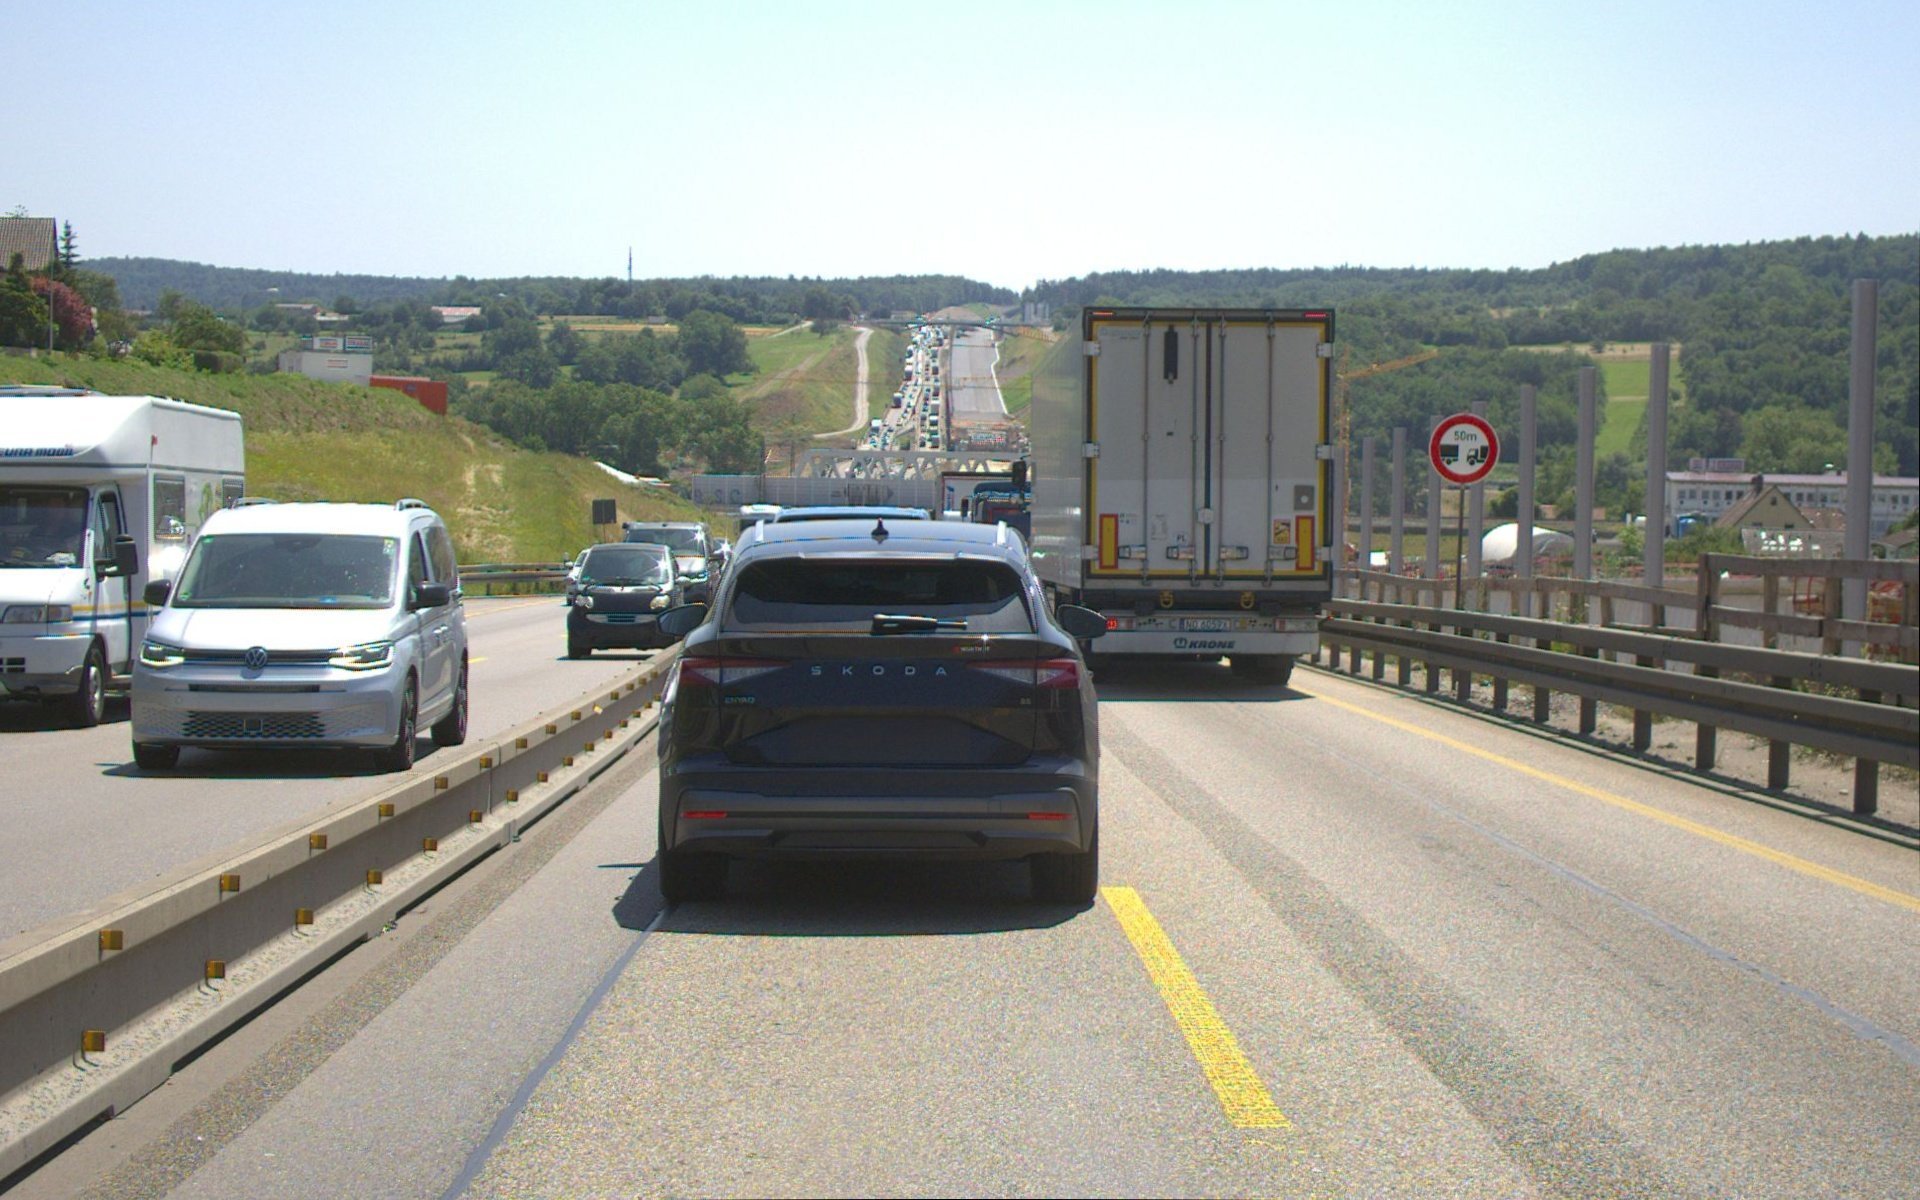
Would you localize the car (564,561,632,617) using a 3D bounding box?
[{"bbox_3d":[-9.156,-0.270,87.037,1.558,1.397,3.467,0,0,-4],"label":"car"}]

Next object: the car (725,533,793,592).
[{"bbox_3d":[-5.731,-1.089,98.378,1.806,1.634,4.173,0,1,-2],"label":"car"}]

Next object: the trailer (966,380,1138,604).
[{"bbox_3d":[1.889,-2.185,77.308,3.180,4.498,14.967,0,0,-1],"label":"trailer"}]

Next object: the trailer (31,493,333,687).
[{"bbox_3d":[-8.104,-0.142,36.317,2.101,1.887,5.141,1,1,-1],"label":"trailer"}]

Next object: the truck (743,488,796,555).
[{"bbox_3d":[-10.621,-4.379,192.400,2.779,3.660,6.278,0,1,-1],"label":"truck"}]

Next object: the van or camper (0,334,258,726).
[{"bbox_3d":[-8.006,-0.611,30.366,2.291,3.056,6.924,1,1,-1],"label":"van or camper"}]

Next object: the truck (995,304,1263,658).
[{"bbox_3d":[2.205,-1.616,48.103,3.180,4.497,8.166,0,1,-1],"label":"truck"}]

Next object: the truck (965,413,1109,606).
[{"bbox_3d":[1.808,-2.109,84.484,3.180,4.498,8.166,0,0,-1],"label":"truck"}]

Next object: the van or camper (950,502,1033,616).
[{"bbox_3d":[0.977,-1.172,102.343,2.389,3.269,6.468,0,0,1],"label":"van or camper"}]

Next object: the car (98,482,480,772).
[{"bbox_3d":[-4.583,0.129,24.210,1.837,1.821,5.041,0,1,-2],"label":"car"}]

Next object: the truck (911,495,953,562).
[{"bbox_3d":[-1.882,-4.704,227.960,2.639,4.179,9.284,0,0,-1],"label":"truck"}]

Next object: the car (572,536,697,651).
[{"bbox_3d":[-4.384,-0.106,46.580,1.483,1.500,2.805,0,1,-1],"label":"car"}]

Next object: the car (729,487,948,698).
[{"bbox_3d":[-1.162,-0.065,33.838,1.993,1.919,4.508,0,0,-1],"label":"car"}]

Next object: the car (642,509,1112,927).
[{"bbox_3d":[-0.331,0.441,15.252,1.802,1.602,4.000,0,0,0],"label":"car"}]

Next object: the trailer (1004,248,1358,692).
[{"bbox_3d":[2.335,-1.471,41.603,3.180,4.497,13.109,0,1,-1],"label":"trailer"}]

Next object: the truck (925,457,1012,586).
[{"bbox_3d":[0.223,-2.801,127.337,2.852,4.450,11.918,0,0,-1],"label":"truck"}]

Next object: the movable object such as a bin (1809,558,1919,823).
[{"bbox_3d":[18.704,1.625,63.933,3.227,4.727,9.656,0,0,-1],"label":"movable object such as a bin"}]
